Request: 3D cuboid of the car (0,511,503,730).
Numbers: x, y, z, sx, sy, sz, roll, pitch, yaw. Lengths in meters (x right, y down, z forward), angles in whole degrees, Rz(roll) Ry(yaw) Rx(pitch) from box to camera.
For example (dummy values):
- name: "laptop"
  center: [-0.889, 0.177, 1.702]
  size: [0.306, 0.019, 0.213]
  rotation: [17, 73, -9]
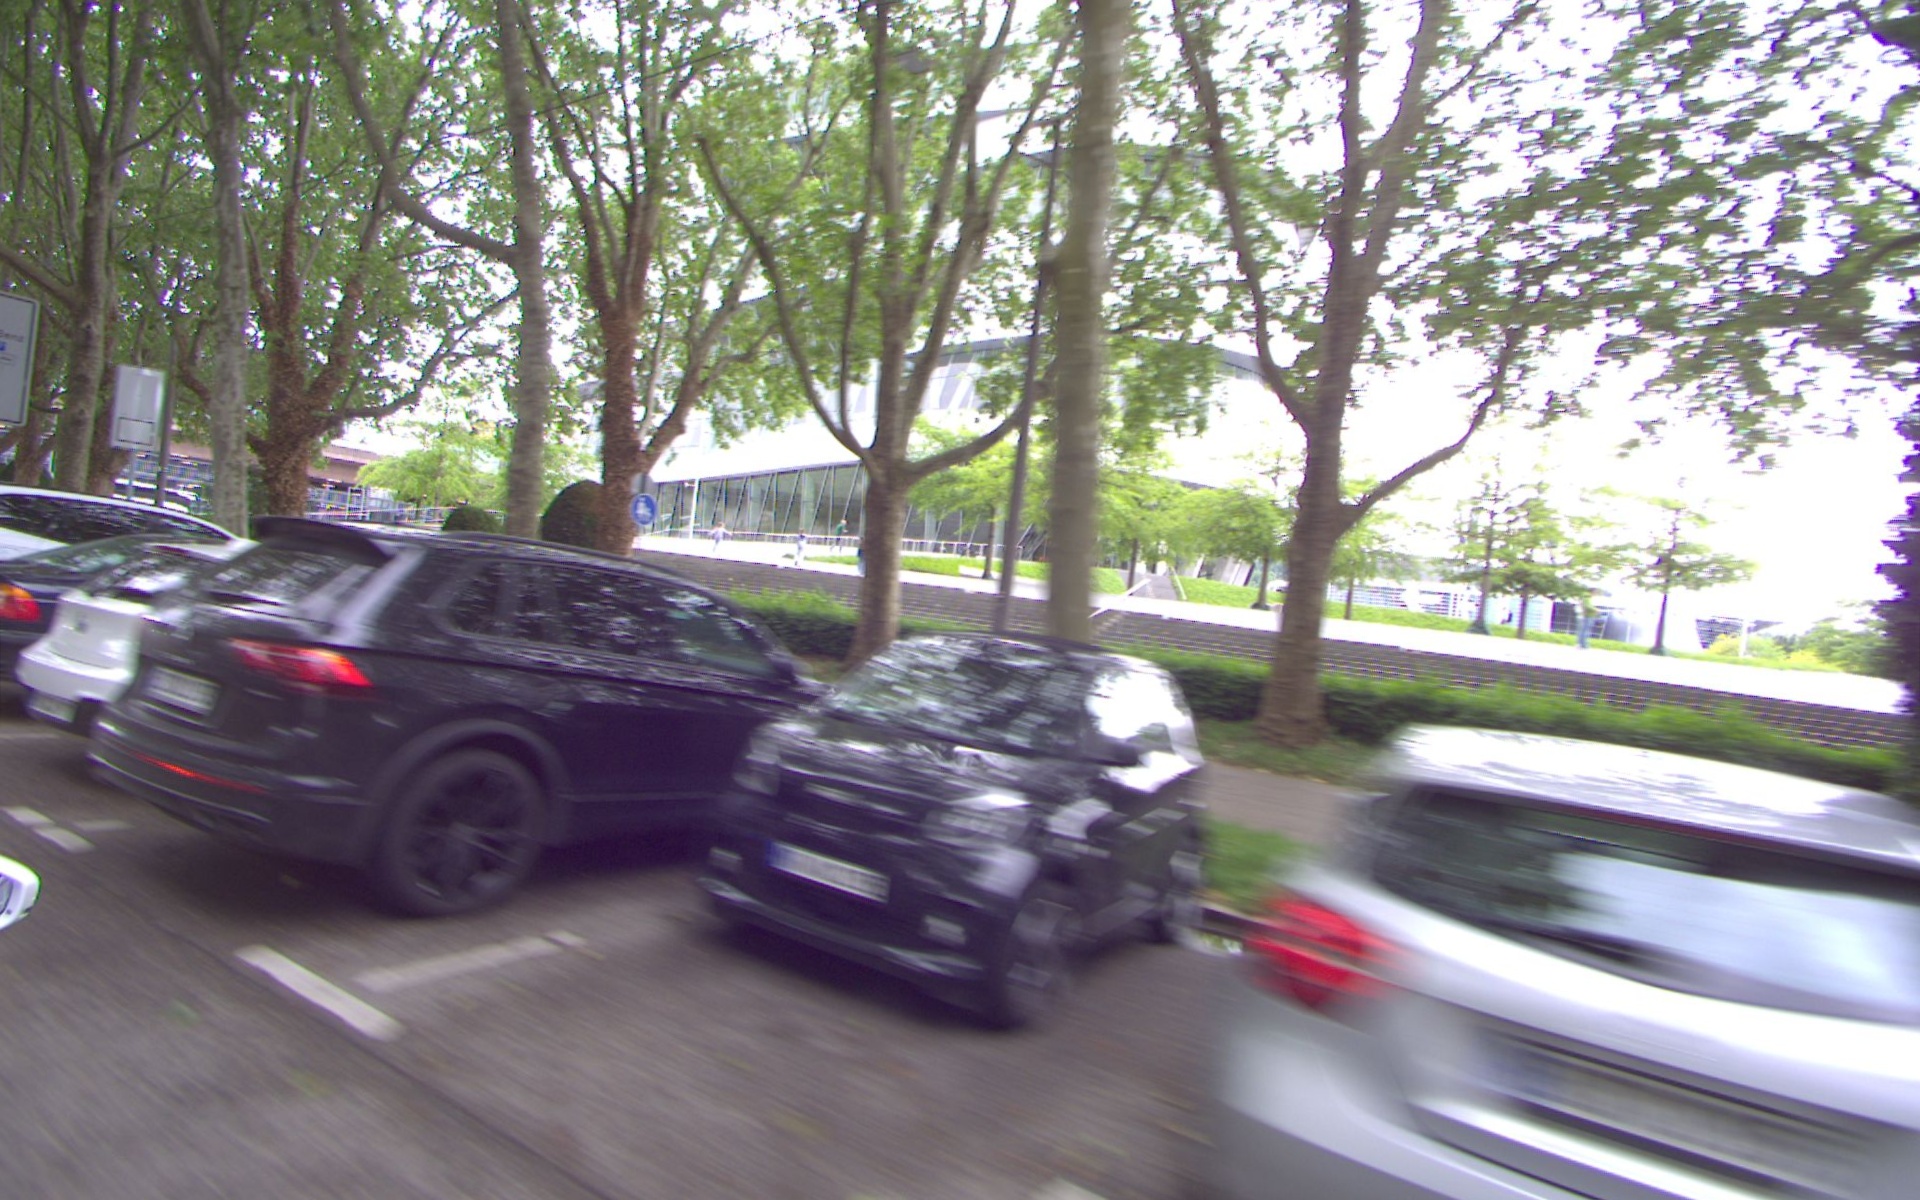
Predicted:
- name: "car"
  center: [-6.165, 0.248, 8.523]
  size: [1.746, 1.418, 3.741]
  rotation: [7, -3, 30]

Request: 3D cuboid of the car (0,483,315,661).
- name: "car"
  center: [-10.085, -0.381, 11.226]
  size: [1.893, 1.623, 4.355]
  rotation: [8, -2, 32]

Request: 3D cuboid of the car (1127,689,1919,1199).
- name: "car"
  center: [1.970, 1.185, 3.389]
  size: [1.636, 1.443, 3.650]
  rotation: [8, -2, 28]

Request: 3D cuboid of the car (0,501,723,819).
- name: "car"
  center: [-4.036, 0.457, 7.320]
  size: [1.916, 1.472, 4.357]
  rotation: [8, -2, 30]

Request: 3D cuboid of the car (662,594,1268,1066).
- name: "car"
  center: [0.342, 0.911, 5.442]
  size: [1.652, 1.511, 3.438]
  rotation: [7, 0, 30]

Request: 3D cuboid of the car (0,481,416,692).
- name: "car"
  center: [-8.140, -0.125, 9.944]
  size: [1.893, 1.652, 4.355]
  rotation: [8, -2, 32]

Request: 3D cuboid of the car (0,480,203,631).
- name: "car"
  center: [-12.368, -0.724, 12.390]
  size: [1.893, 1.652, 4.355]
  rotation: [8, -2, 32]

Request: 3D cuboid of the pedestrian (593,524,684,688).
- name: "pedestrian"
  center: [-4.223, 0.099, 13.247]
  size: [0.587, 2.037, 0.788]
  rotation: [7, -1, 15]

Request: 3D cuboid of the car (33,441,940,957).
- name: "car"
  center: [-2.136, 0.501, 5.901]
  size: [1.893, 1.780, 4.358]
  rotation: [7, -2, 30]

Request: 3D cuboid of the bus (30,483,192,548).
- name: "bus"
  center: [-75.903, -7.429, 90.449]
  size: [2.706, 3.980, 11.093]
  rotation: [7, -2, 18]

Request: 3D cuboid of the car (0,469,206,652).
- name: "car"
  center: [-12.192, -0.631, 12.418]
  size: [1.967, 2.036, 3.995]
  rotation: [8, -2, 32]
